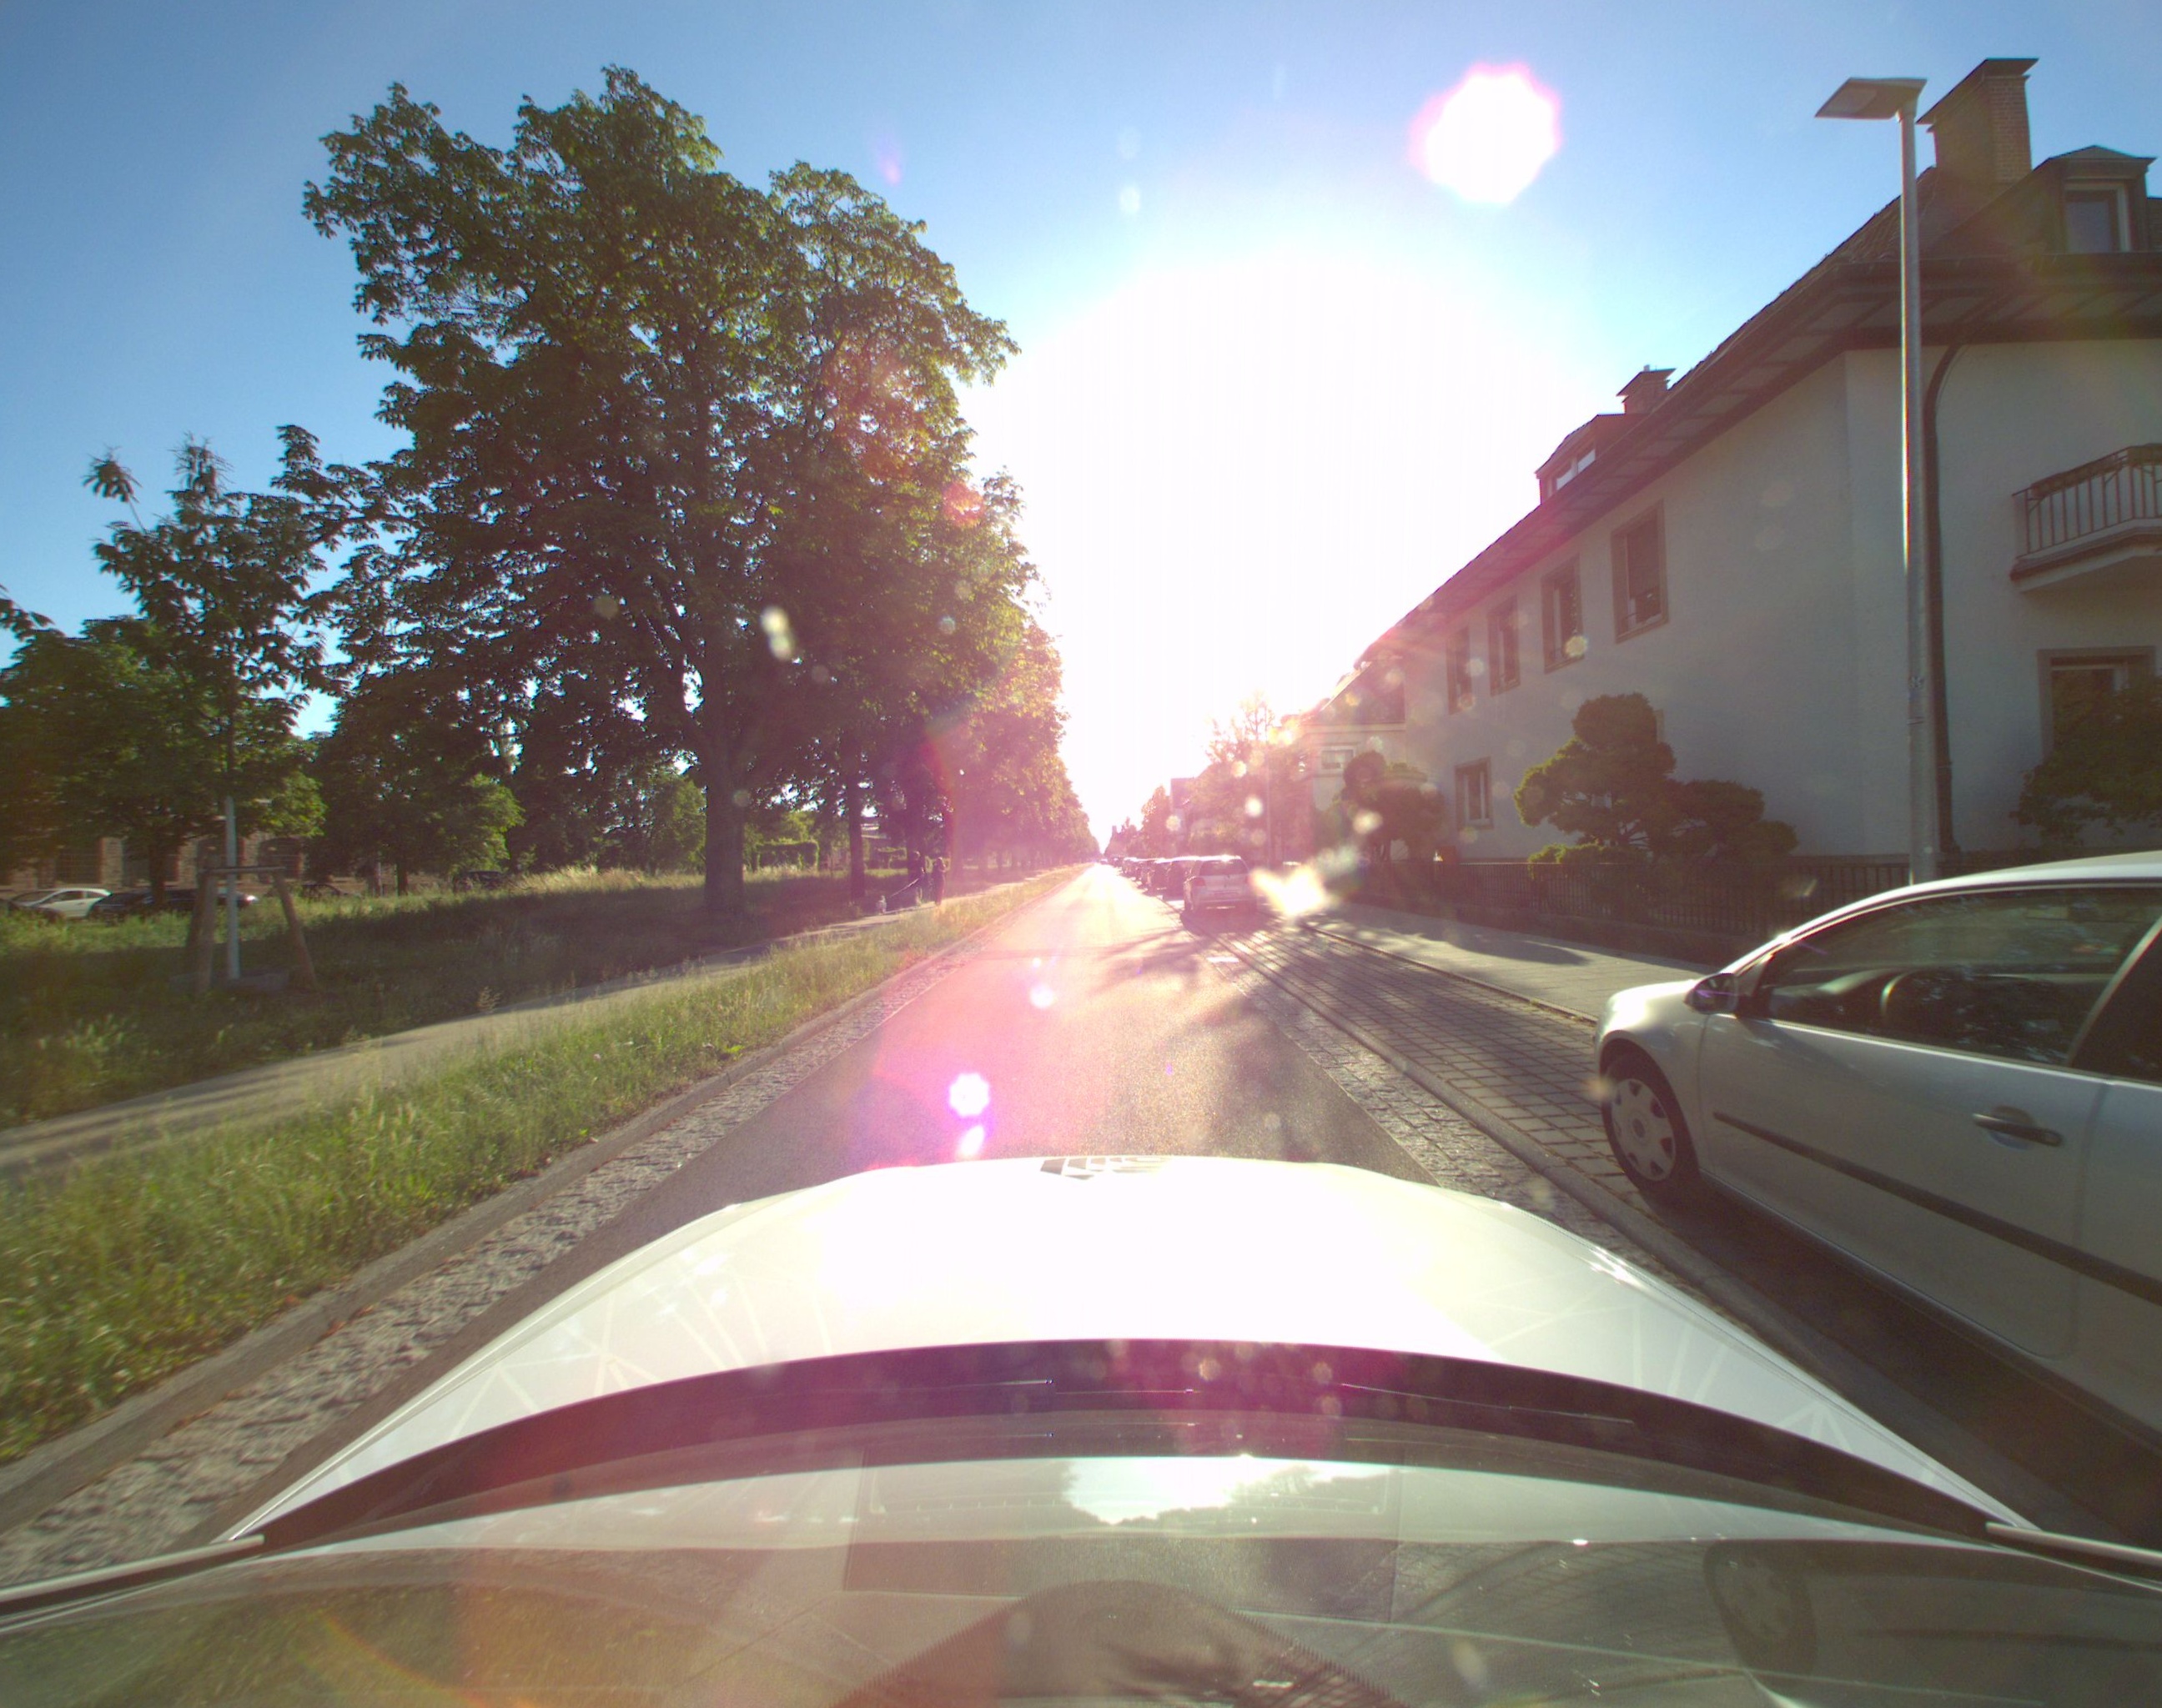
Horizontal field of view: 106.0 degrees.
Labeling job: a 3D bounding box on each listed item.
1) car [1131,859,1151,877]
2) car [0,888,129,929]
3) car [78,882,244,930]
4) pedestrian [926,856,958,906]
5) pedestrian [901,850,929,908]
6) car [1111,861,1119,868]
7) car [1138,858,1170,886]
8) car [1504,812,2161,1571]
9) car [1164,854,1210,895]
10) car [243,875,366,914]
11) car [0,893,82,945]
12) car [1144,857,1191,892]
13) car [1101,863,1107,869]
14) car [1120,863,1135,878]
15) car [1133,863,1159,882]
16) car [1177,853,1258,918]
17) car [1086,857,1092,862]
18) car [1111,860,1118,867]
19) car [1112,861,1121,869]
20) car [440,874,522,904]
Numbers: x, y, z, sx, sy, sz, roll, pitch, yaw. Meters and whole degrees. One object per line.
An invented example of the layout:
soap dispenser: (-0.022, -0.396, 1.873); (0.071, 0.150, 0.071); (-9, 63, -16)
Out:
car: (5.209, 1.213, 71.320); (1.645, 1.396, 3.268); (-2, -1, 3)
car: (-41.399, 2.162, 32.673); (1.623, 1.406, 4.001); (-2, 0, 1)
car: (-36.066, 1.974, 32.106); (1.687, 1.597, 4.221); (-2, 0, 1)
pedestrian: (-4.617, 0.874, 27.104); (0.779, 1.614, 0.953); (-2, 0, 5)
pedestrian: (-5.421, 0.803, 26.688); (0.621, 1.831, 0.887); (-2, -1, 5)
car: (7.984, 2.434, 190.753); (1.645, 1.541, 3.268); (-1, -1, 3)
car: (4.258, 1.038, 47.881); (1.586, 1.510, 3.593); (-2, -1, 2)
car: (3.009, 0.653, 2.082); (1.738, 1.474, 3.922); (-5, -1, 0)
car: (4.250, 0.823, 33.167); (1.650, 1.494, 3.721); (-3, -1, 5)
car: (-36.578, 1.865, 38.527); (1.687, 1.597, 4.221); (-2, 0, 1)
car: (-36.008, 2.186, 26.509); (1.687, 1.597, 4.221); (-2, 0, 1)
car: (4.011, 0.955, 38.413); (1.731, 1.449, 4.196); (-4, -1, 0)
car: (6.499, 3.348, 230.778); (1.646, 1.541, 3.267); (-1, -1, 1)
car: (5.115, 1.832, 89.998); (1.492, 1.567, 3.268); (-2, -1, 3)
car: (4.559, 1.273, 57.860); (1.686, 1.248, 3.499); (-2, -1, 3)
car: (3.608, 0.777, 22.070); (1.621, 1.504, 3.635); (-4, 0, 2)
car: (2.614, 1.633, 261.850); (1.646, 1.541, 3.267); (-1, -1, 1)
car: (8.050, 2.342, 196.017); (1.645, 1.541, 3.268); (-1, -1, 3)
car: (6.633, 2.013, 151.837); (1.645, 1.541, 3.268); (-1, -1, 3)
car: (-35.590, 2.039, 48.450); (1.687, 1.597, 4.221); (-2, 0, 1)
